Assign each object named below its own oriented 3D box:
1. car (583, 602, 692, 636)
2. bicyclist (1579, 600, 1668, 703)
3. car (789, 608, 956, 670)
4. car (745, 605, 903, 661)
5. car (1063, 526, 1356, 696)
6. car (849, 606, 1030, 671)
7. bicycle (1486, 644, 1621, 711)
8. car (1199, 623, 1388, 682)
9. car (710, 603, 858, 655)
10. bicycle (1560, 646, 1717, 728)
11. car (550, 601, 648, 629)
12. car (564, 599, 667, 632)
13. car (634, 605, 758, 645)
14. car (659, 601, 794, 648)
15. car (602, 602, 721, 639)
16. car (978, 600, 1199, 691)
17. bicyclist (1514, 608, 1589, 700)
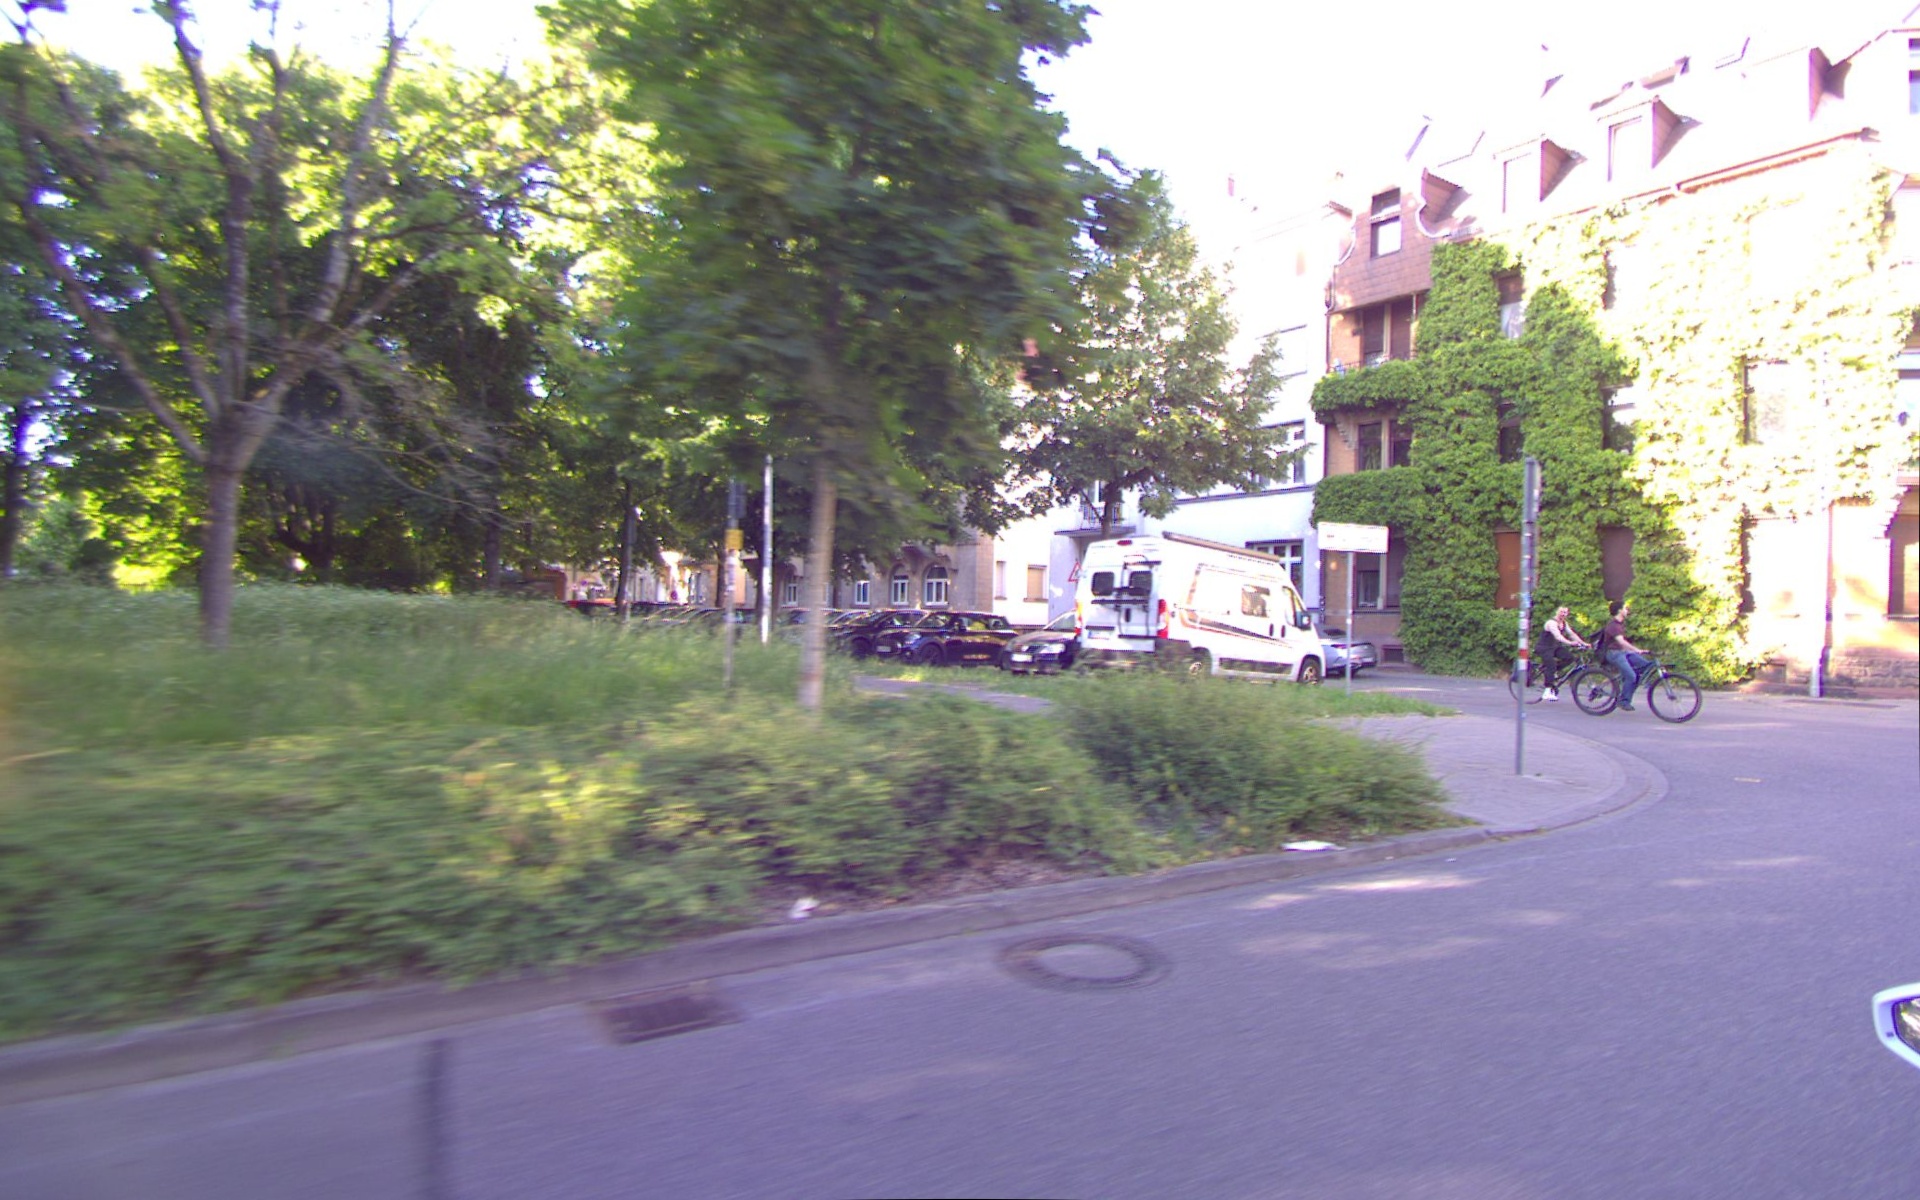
[{"bbox_3d":[-13.115,0.781,40.902,3.848,1.273,1.765,2,0,-39],"label":"car"},{"bbox_3d":[10.435,0.793,15.807,0.714,1.547,0.961,2,0,-38],"label":"bicyclist"},{"bbox_3d":[-2.199,0.968,25.768,3.848,1.461,1.956,2,-1,-39],"label":"car"},{"bbox_3d":[-3.710,0.906,27.640,3.848,1.396,1.956,2,0,-39],"label":"car"},{"bbox_3d":[4.664,0.238,18.269,5.584,2.649,2.213,2,0,-39],"label":"car"},{"bbox_3d":[-0.433,0.900,23.586,3.848,1.360,1.956,2,0,-39],"label":"car"},{"bbox_3d":[10.432,1.331,17.706,0.693,1.087,1.944,2,-3,-43],"label":"bicycle"},{"bbox_3d":[9.286,1.407,28.320,1.866,1.423,4.872,0,0,-38],"label":"car"},{"bbox_3d":[-5.154,0.869,29.636,3.848,1.396,1.956,2,0,-39],"label":"car"},{"bbox_3d":[10.515,1.316,15.639,0.552,1.087,1.947,-1,2,-38],"label":"bicycle"},{"bbox_3d":[-16.406,0.693,45.755,3.848,1.170,1.765,2,0,-39],"label":"car"},{"bbox_3d":[-14.814,0.683,43.282,3.848,1.273,1.765,2,0,-39],"label":"car"},{"bbox_3d":[-9.282,0.891,35.476,3.848,1.273,1.765,2,0,-39],"label":"car"},{"bbox_3d":[-7.651,0.811,33.038,3.848,1.396,1.956,2,0,-39],"label":"car"},{"bbox_3d":[-11.109,0.777,37.478,3.848,1.273,1.765,2,0,-39],"label":"car"},{"bbox_3d":[2.628,0.883,20.061,4.263,1.596,1.956,2,0,-39],"label":"car"},{"bbox_3d":[10.428,0.929,17.710,0.704,1.547,0.959,2,0,-44],"label":"bicyclist"}]
